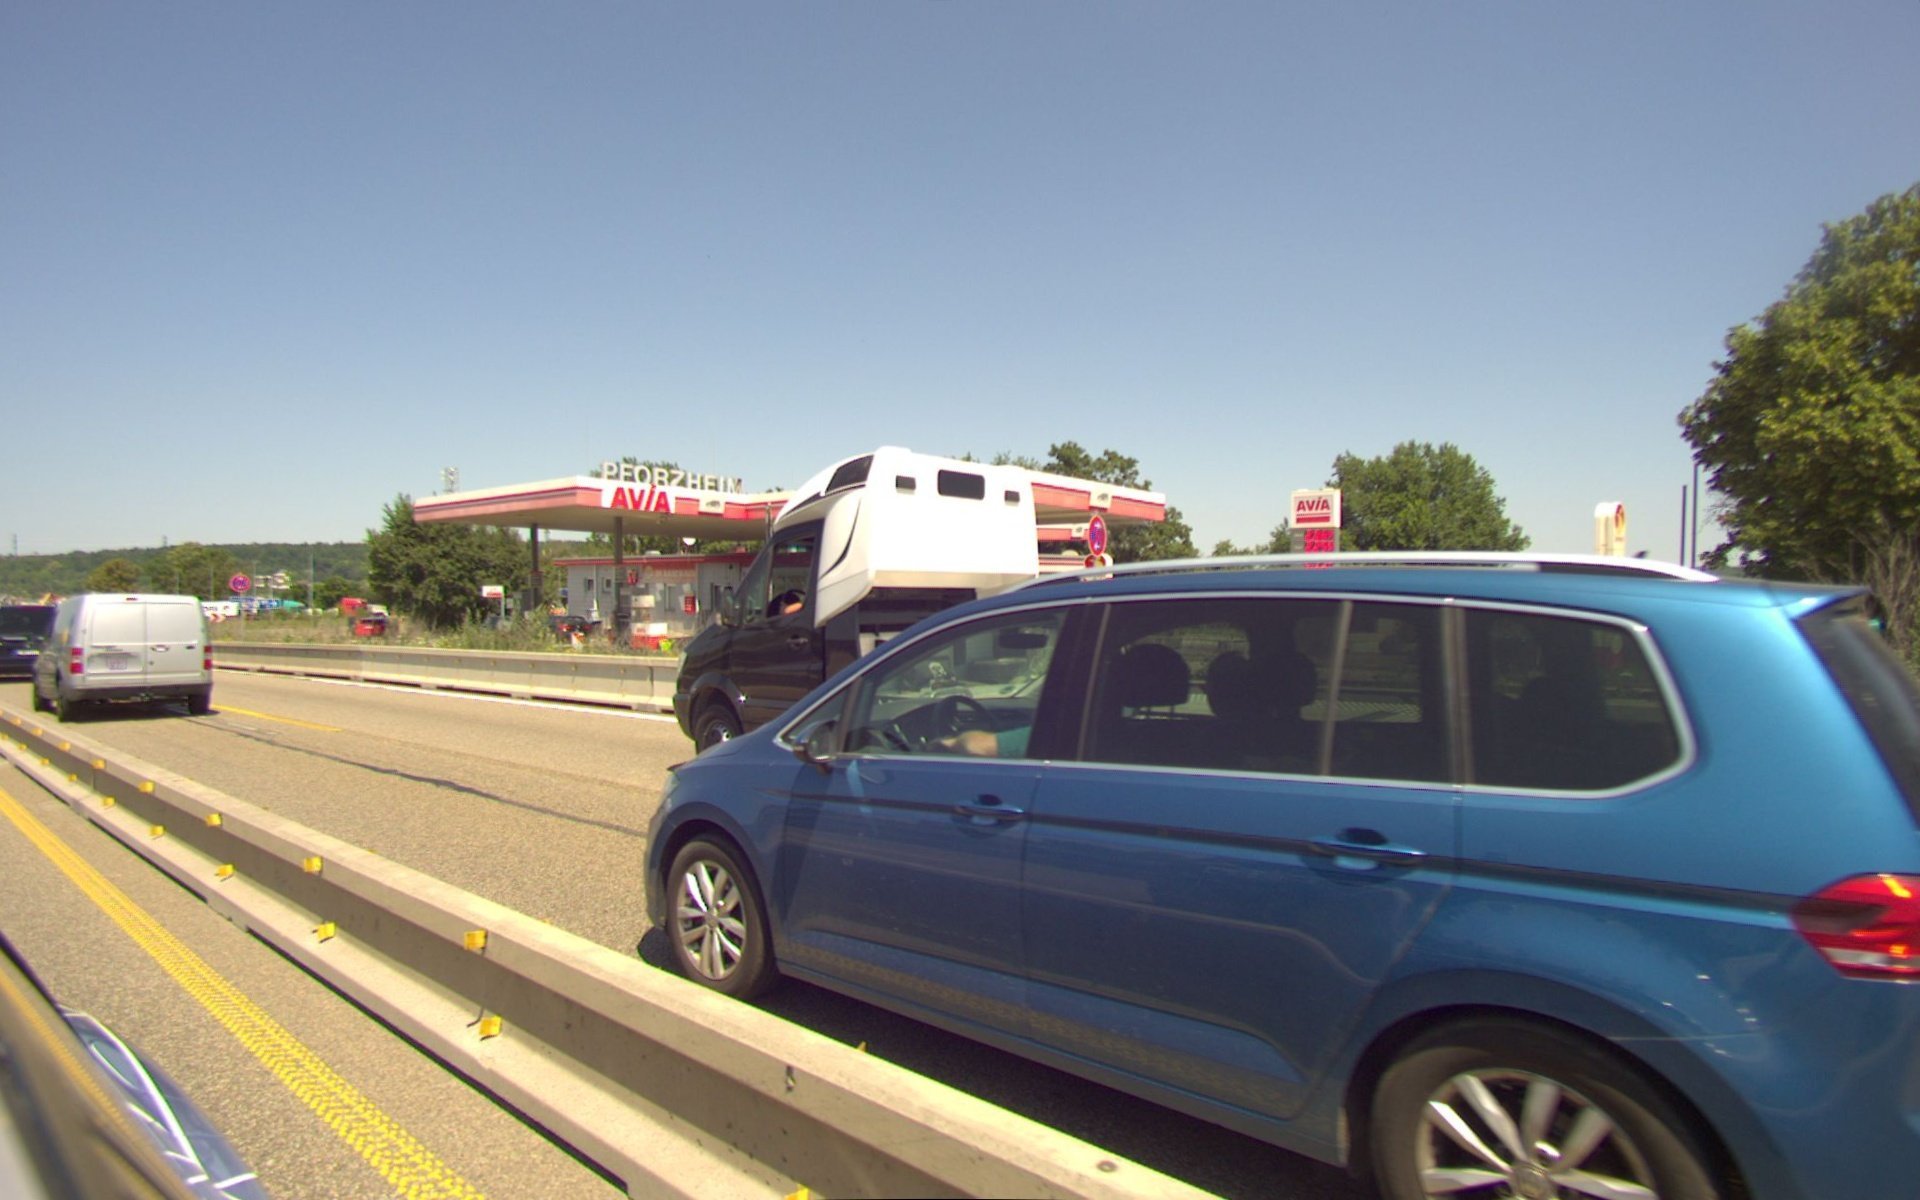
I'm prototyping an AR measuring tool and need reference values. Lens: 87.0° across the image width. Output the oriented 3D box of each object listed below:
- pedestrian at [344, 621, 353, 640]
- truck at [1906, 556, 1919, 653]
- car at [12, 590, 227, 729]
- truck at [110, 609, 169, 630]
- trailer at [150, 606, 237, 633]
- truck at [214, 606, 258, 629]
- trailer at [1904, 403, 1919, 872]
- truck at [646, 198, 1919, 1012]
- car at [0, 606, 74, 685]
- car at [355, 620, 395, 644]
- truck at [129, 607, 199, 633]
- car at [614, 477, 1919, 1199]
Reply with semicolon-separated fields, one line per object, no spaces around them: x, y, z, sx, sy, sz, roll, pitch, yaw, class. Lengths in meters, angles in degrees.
-40.261;2.002;66.676;0.467;1.214;0.587;0;-2;-35;pedestrian
33.263;0.086;29.951;2.779;3.087;7.144;0;-1;-27;truck
-13.172;0.867;15.766;4.587;1.854;1.834;-2;-2;40;car
-164.009;3.941;202.248;9.017;3.569;2.695;-4;1;-6;truck
-135.093;3.426;178.429;12.560;3.812;2.624;-4;1;-5;trailer
-128.078;3.092;179.102;5.647;3.644;2.585;-4;1;-8;truck
6.317;0.227;2.537;5.610;2.332;2.159;-2;-3;41;trailer
1.089;0.111;7.140;8.125;2.846;2.454;-2;-2;41;truck
-23.699;1.123;25.117;5.078;1.818;1.888;-2;-2;40;car
-39.007;2.121;67.533;1.478;1.342;4.199;-4;1;-19;car
-149.771;3.721;190.533;9.741;4.251;3.590;-4;1;-6;truck
0.818;0.673;3.220;3.998;1.621;1.885;-2;-1;41;car
